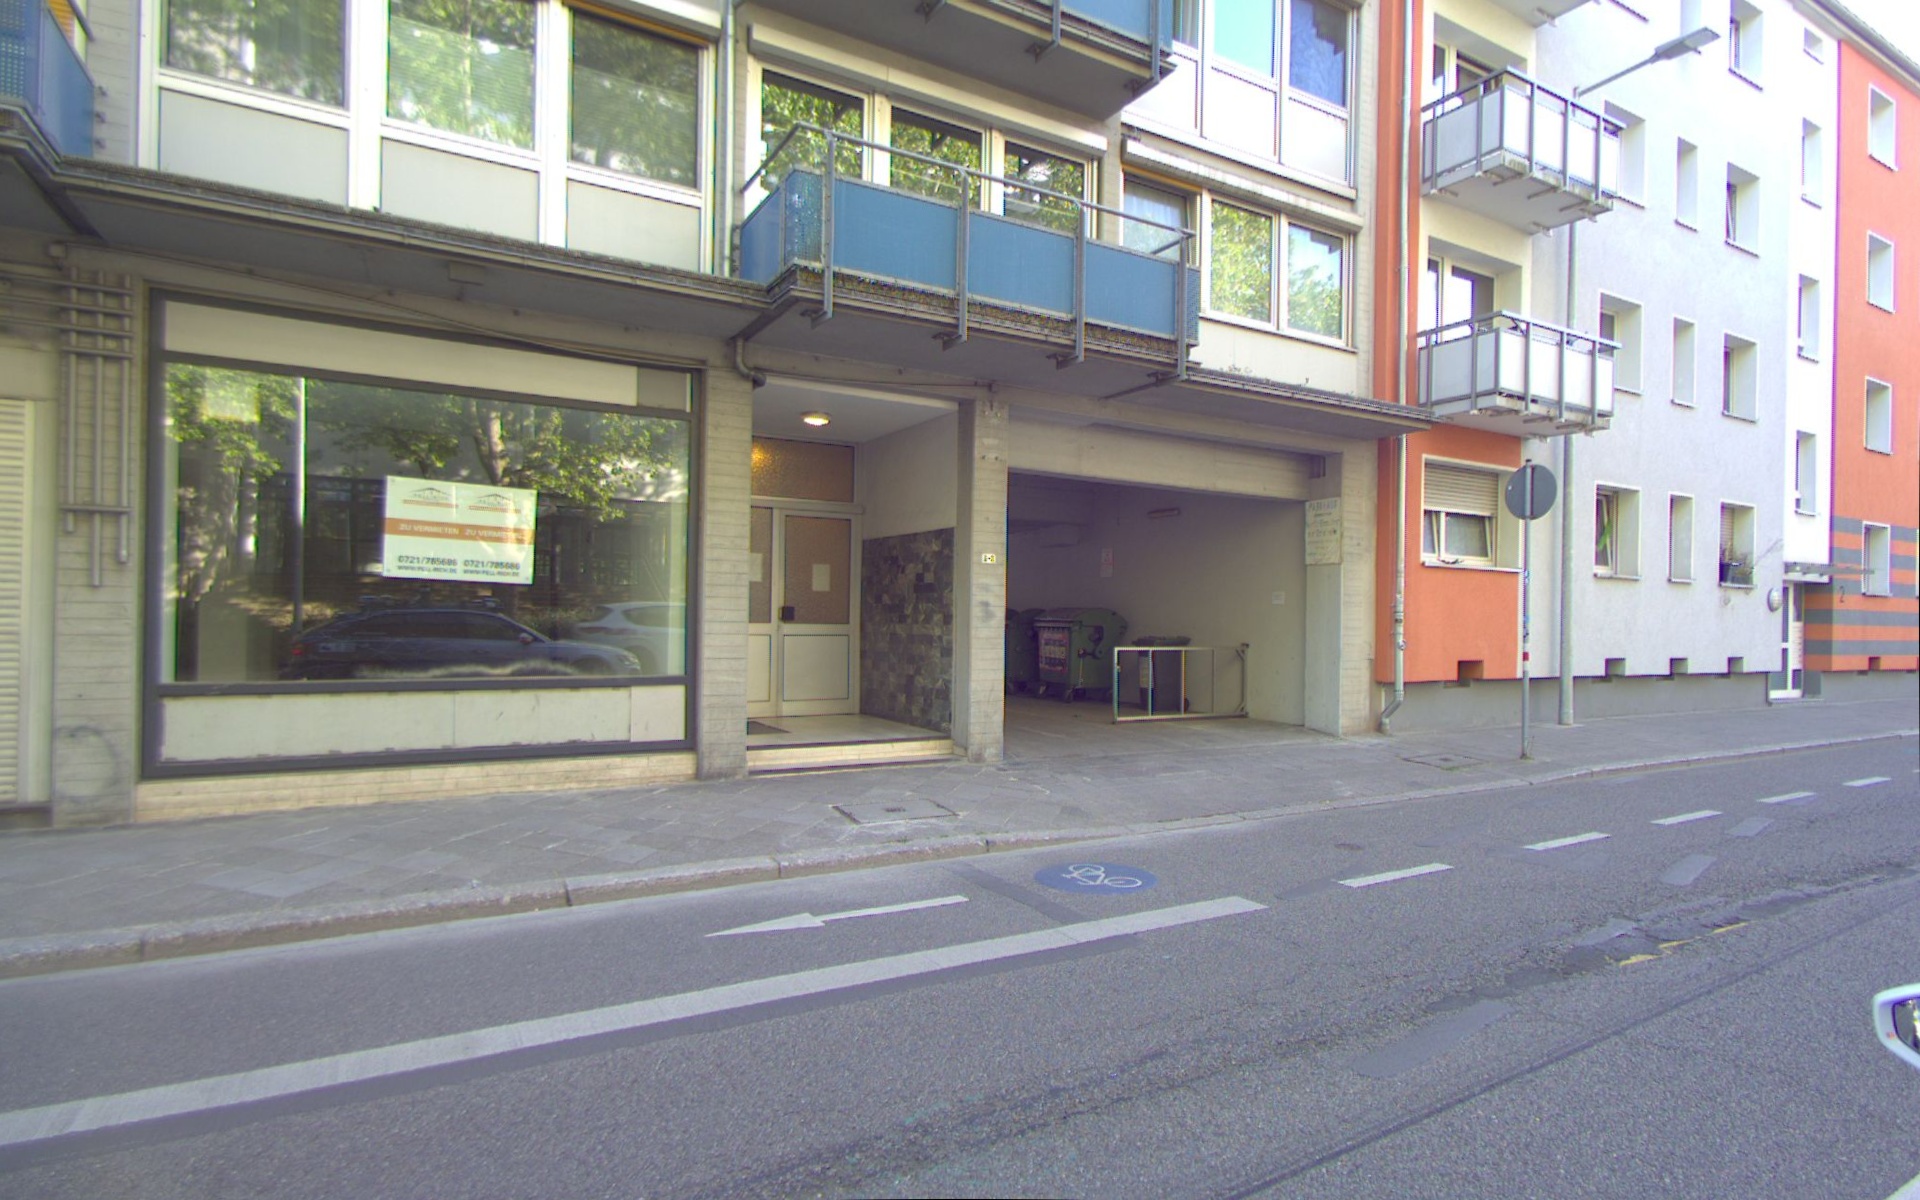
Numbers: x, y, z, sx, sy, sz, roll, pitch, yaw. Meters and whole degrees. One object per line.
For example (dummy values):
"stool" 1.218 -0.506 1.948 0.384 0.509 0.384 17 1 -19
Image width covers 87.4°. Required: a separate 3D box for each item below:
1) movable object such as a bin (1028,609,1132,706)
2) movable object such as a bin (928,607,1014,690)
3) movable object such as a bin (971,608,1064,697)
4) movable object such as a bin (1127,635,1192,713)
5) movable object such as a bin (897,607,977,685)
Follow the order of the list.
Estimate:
"movable object such as a bin" 1.880 0.869 15.803 1.116 1.444 1.201 1 0 -30
"movable object such as a bin" 0.198 0.870 18.461 1.116 1.444 1.201 1 0 -30
"movable object such as a bin" 0.968 0.863 17.163 1.116 1.444 1.201 1 0 -30
"movable object such as a bin" 2.878 1.051 14.493 0.667 1.079 0.639 1 0 -30
"movable object such as a bin" -0.450 0.877 19.609 1.116 1.444 1.201 1 0 -30
